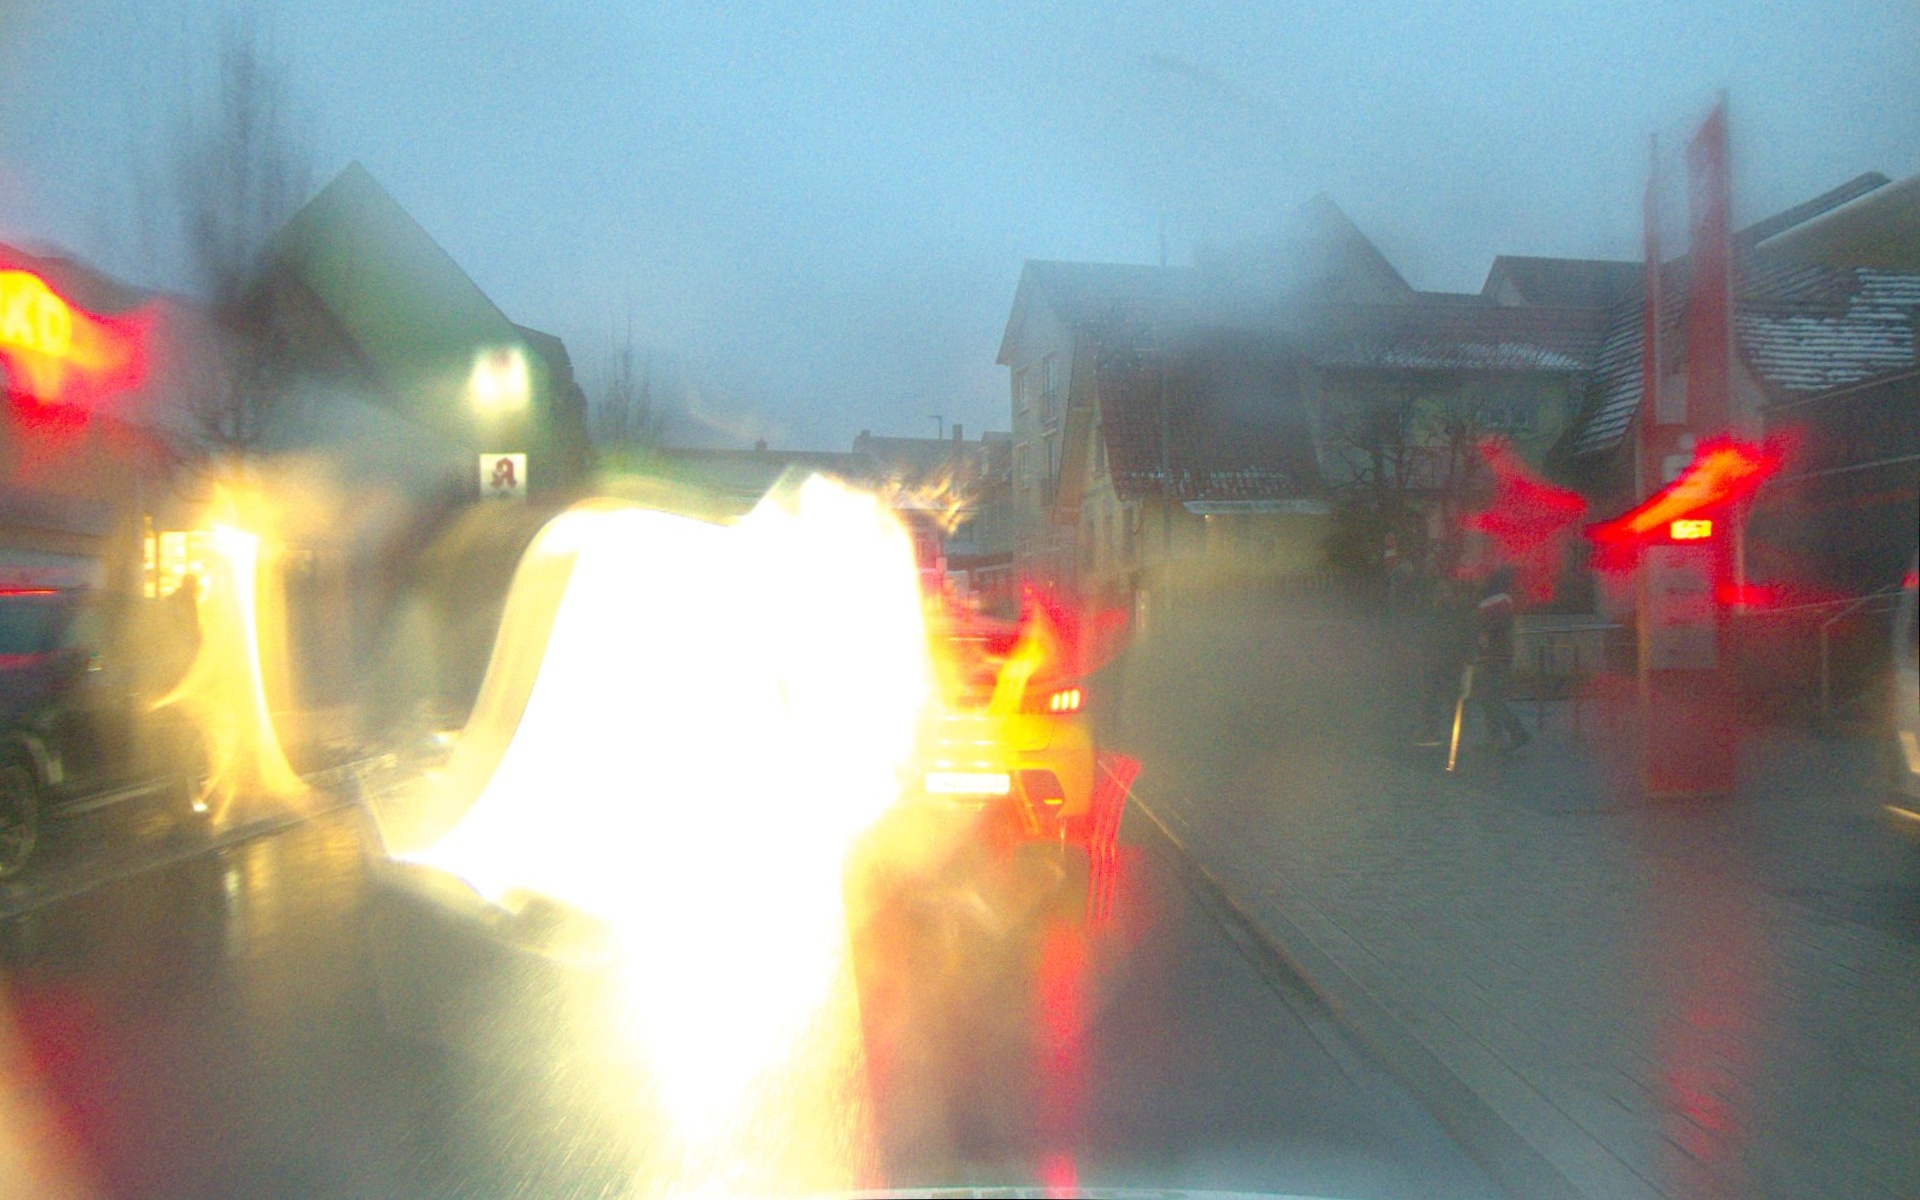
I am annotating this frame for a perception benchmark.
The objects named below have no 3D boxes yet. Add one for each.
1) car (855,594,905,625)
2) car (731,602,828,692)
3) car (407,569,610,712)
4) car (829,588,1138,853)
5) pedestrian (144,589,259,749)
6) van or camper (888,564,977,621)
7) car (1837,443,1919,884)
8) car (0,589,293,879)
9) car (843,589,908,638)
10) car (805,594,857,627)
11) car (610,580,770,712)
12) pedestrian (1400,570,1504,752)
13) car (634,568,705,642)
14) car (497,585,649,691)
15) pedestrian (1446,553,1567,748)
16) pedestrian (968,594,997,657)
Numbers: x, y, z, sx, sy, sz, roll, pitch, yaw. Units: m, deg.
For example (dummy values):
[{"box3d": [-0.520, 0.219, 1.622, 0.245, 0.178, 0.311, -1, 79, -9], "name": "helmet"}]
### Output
[{"box3d": [-4.662, 0.550, 95.923, 1.962, 1.639, 4.155, -2, -1, -17], "name": "car"}, {"box3d": [-3.855, 0.955, 35.672, 1.914, 1.573, 4.412, -1, 3, -5], "name": "car"}, {"box3d": [-6.327, 0.521, 23.761, 2.046, 1.823, 5.016, 1, 0, -7], "name": "car"}, {"box3d": [-0.007, 0.739, 11.866, 1.779, 1.560, 3.995, 1, -1, -5], "name": "car"}, {"box3d": [-9.251, 0.826, 20.216, 0.920, 1.909, 1.012, 0, 0, -1], "name": "pedestrian"}, {"box3d": [-1.652, -0.426, 96.861, 2.618, 3.100, 6.681, -3, 1, -25], "name": "van or camper"}, {"box3d": [6.492, 0.236, 7.414, 4.004, 2.085, 2.001, -2, 0, 6], "name": "car"}, {"box3d": [-6.173, 0.727, 10.573, 1.953, 1.549, 4.975, 0, 0, -2], "name": "car"}, {"box3d": [-2.976, 0.462, 57.301, 1.956, 1.616, 3.994, 1, -1, -7], "name": "car"}, {"box3d": [-7.446, 0.579, 95.420, 1.963, 1.796, 4.327, -2, 1, -19], "name": "car"}, {"box3d": [-4.062, 0.620, 25.656, 1.954, 1.735, 4.963, 2, 1, -4], "name": "car"}, {"box3d": [4.846, 0.587, 16.269, 0.826, 1.735, 0.838, -2, -1, 25], "name": "pedestrian"}, {"box3d": [-10.980, 0.234, 62.827, 2.440, 2.605, 6.746, 1, -1, -9], "name": "car"}, {"box3d": [-6.889, 0.659, 29.921, 1.843, 1.740, 4.709, 1, -1, -3], "name": "car"}, {"box3d": [5.064, 0.455, 15.361, 0.690, 1.735, 0.913, -2, -1, -8], "name": "pedestrian"}, {"box3d": [0.645, 0.710, 47.162, 0.730, 1.759, 0.872, 0, 1, -6], "name": "pedestrian"}]
